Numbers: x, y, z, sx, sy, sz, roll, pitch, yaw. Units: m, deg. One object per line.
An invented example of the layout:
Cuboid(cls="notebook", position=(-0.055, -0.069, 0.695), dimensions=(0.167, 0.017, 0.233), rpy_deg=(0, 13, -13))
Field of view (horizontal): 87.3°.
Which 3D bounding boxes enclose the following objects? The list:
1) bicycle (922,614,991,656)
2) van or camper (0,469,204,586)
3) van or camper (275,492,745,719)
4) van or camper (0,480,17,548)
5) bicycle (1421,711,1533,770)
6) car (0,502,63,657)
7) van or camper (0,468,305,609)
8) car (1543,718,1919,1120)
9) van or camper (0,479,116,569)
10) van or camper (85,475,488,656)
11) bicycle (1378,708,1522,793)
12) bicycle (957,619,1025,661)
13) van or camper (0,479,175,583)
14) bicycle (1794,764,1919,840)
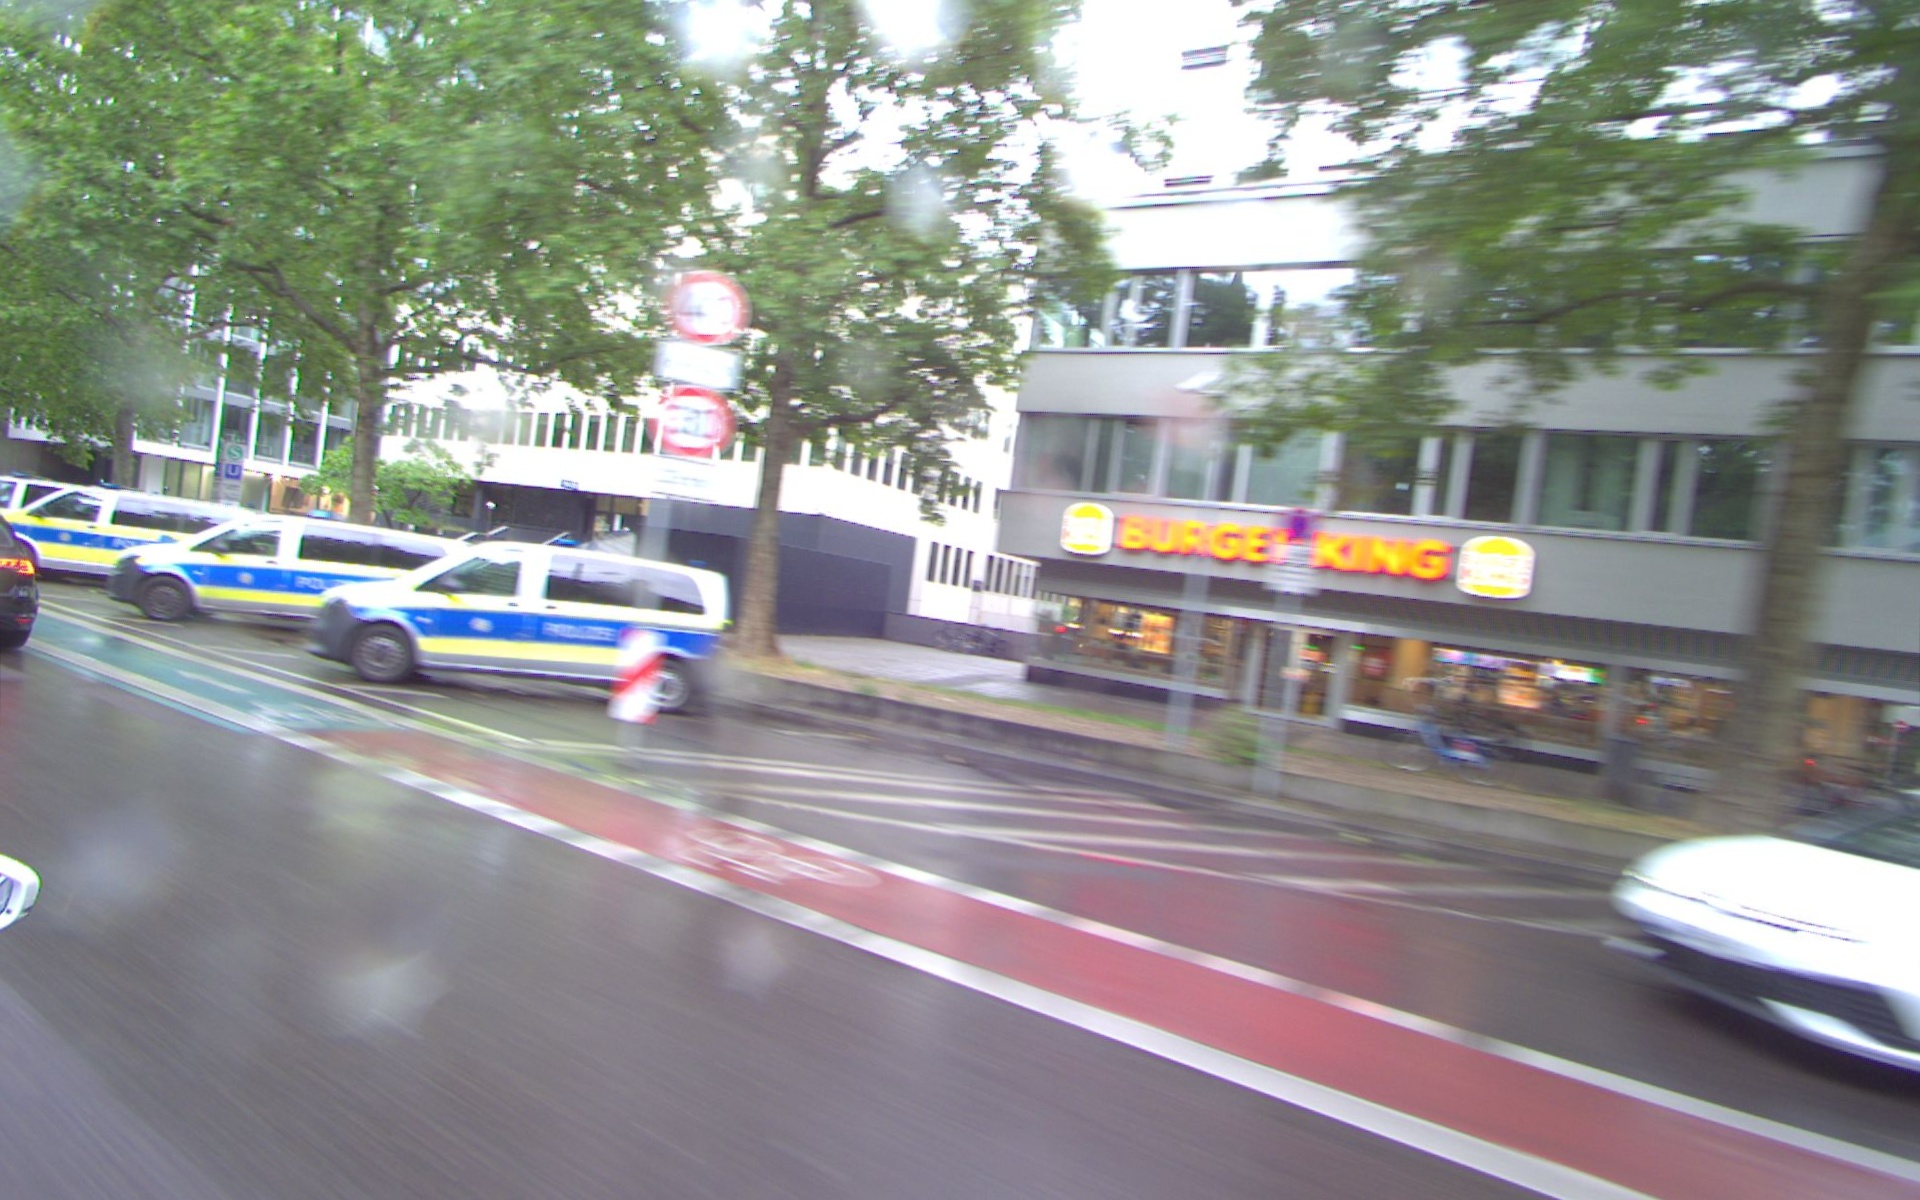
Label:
Cuboid(cls="bicycle", position=(-0.130, 1.228, 35.285), dimensions=(2.249, 1.187, 0.687), rpy_deg=(7, 0, 32))
Cuboid(cls="van or camper", position=(-19.763, -1.639, 21.908), dimensions=(4.732, 2.034, 1.990), rpy_deg=(8, -1, -23))
Cuboid(cls="van or camper", position=(-5.448, 0.148, 12.810), dimensions=(4.880, 2.015, 1.994), rpy_deg=(8, -2, -21))
Cuboid(cls="van or camper", position=(-31.160, -2.934, 29.061), dimensions=(5.144, 2.015, 1.989), rpy_deg=(9, -2, -24))
Cuboid(cls="bicycle", position=(10.365, 2.810, 20.234), dimensions=(1.878, 0.829, 0.643), rpy_deg=(7, 0, 23))
Cuboid(cls="car", position=(-10.942, -0.426, 9.956), dimensions=(3.930, 1.430, 1.769), rpy_deg=(7, 0, 28))
Cuboid(cls="van or camper", position=(-16.261, -1.170, 20.160), dimensions=(4.790, 2.022, 1.859), rpy_deg=(8, -1, -22))
Cuboid(cls="car", position=(5.878, 1.730, 5.393), dimensions=(4.432, 1.462, 1.866), rpy_deg=(8, -1, -7))
Cuboid(cls="van or camper", position=(-25.375, -2.174, 25.873), dimensions=(5.038, 2.049, 2.096), rpy_deg=(8, -1, -21))
Cuboid(cls="van or camper", position=(-10.757, -0.473, 16.639), dimensions=(5.022, 2.042, 1.987), rpy_deg=(9, -2, -22))
Cuboid(cls="bicycle", position=(7.592, 2.309, 15.622), dimensions=(1.881, 0.935, 0.642), rpy_deg=(7, 1, 30))
Cuboid(cls="bicycle", position=(1.103, 1.441, 36.343), dimensions=(2.248, 1.187, 0.688), rpy_deg=(7, -1, 29))
Cuboid(cls="van or camper", position=(-22.148, -1.749, 23.969), dimensions=(4.963, 2.019, 1.987), rpy_deg=(8, -1, -26))
Cuboid(cls="bicycle", position=(15.635, 3.474, 17.109), dimensions=(2.041, 0.907, 0.584), rpy_deg=(9, 1, 29))
